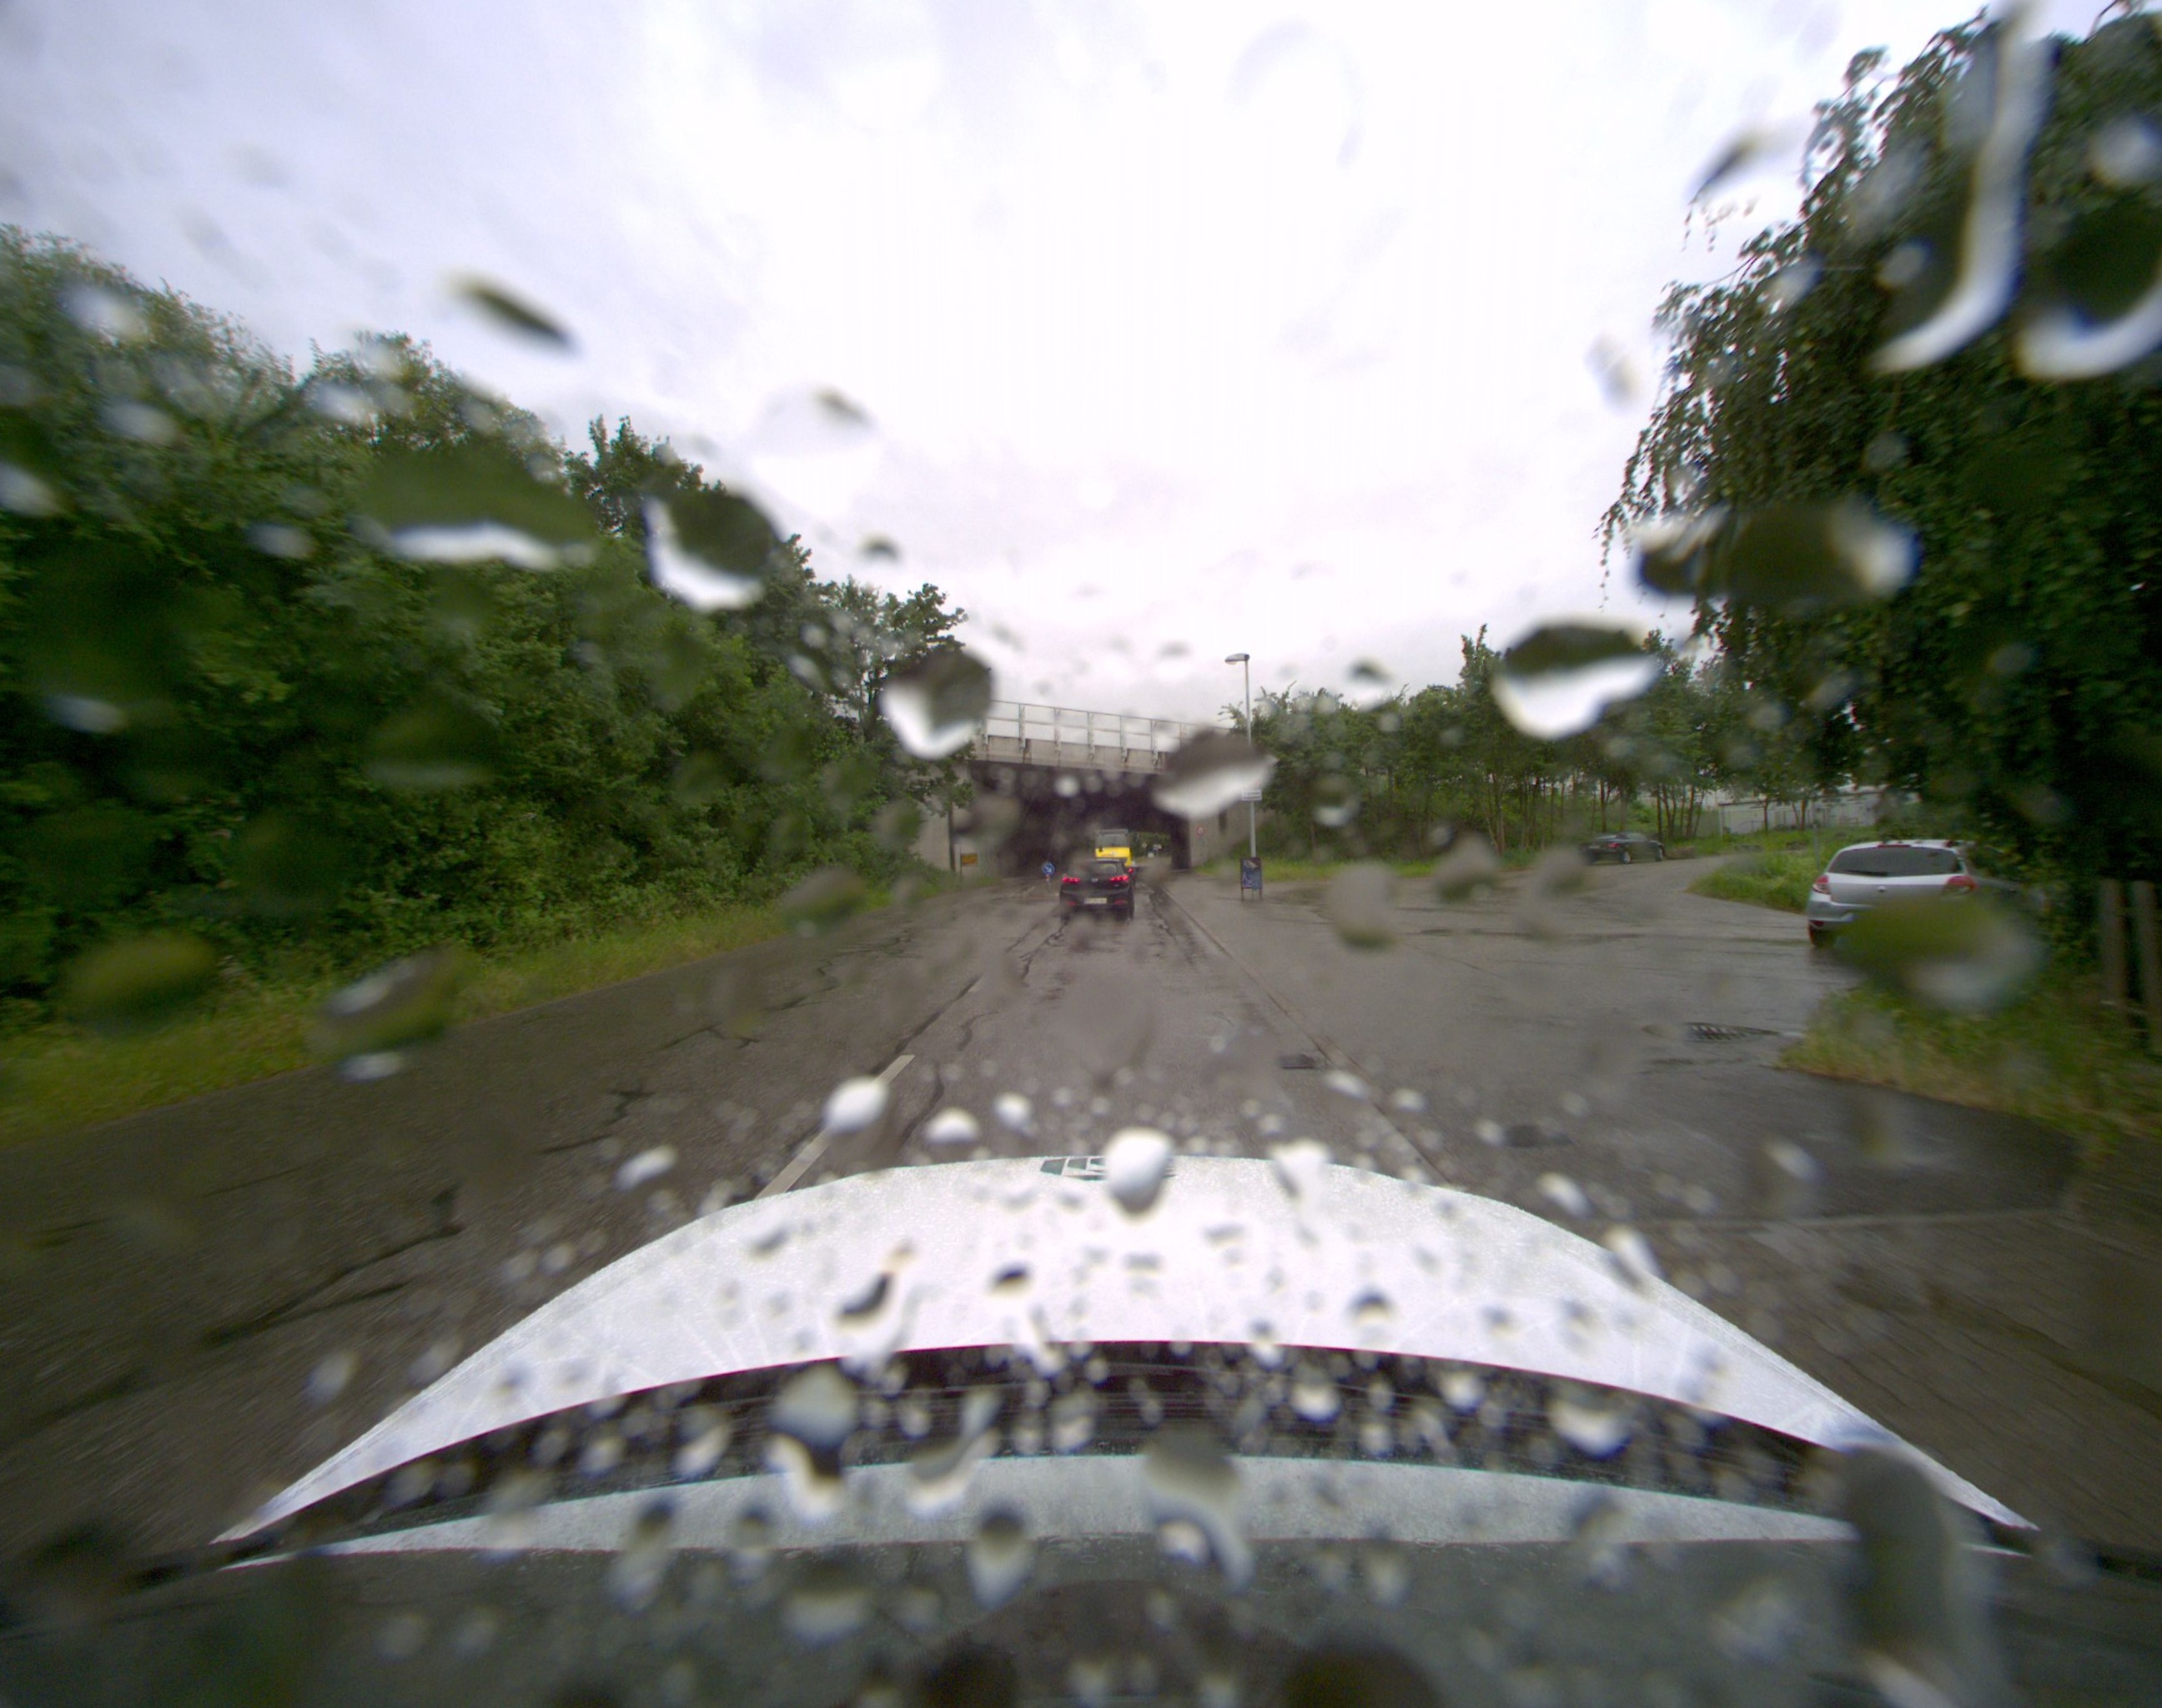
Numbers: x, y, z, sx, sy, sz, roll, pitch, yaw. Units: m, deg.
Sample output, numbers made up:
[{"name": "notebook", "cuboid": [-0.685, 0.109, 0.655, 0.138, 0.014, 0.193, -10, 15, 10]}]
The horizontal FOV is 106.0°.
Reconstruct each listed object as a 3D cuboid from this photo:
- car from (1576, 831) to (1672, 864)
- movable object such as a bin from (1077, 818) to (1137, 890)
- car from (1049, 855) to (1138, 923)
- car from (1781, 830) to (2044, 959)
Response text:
[{"name": "car", "cuboid": [23.240, -0.265, 34.813, 4.126, 1.359, 1.886, -1, -1, -32]}, {"name": "movable object such as a bin", "cuboid": [1.068, 0.022, 34.059, 2.237, 2.669, 6.628, -1, 0, 1]}, {"name": "car", "cuboid": [0.330, 0.795, 20.280, 1.986, 1.487, 4.001, -1, 0, 1]}, {"name": "car", "cuboid": [11.743, 0.478, 11.465, 3.869, 1.532, 1.702, -1, -1, -31]}]
